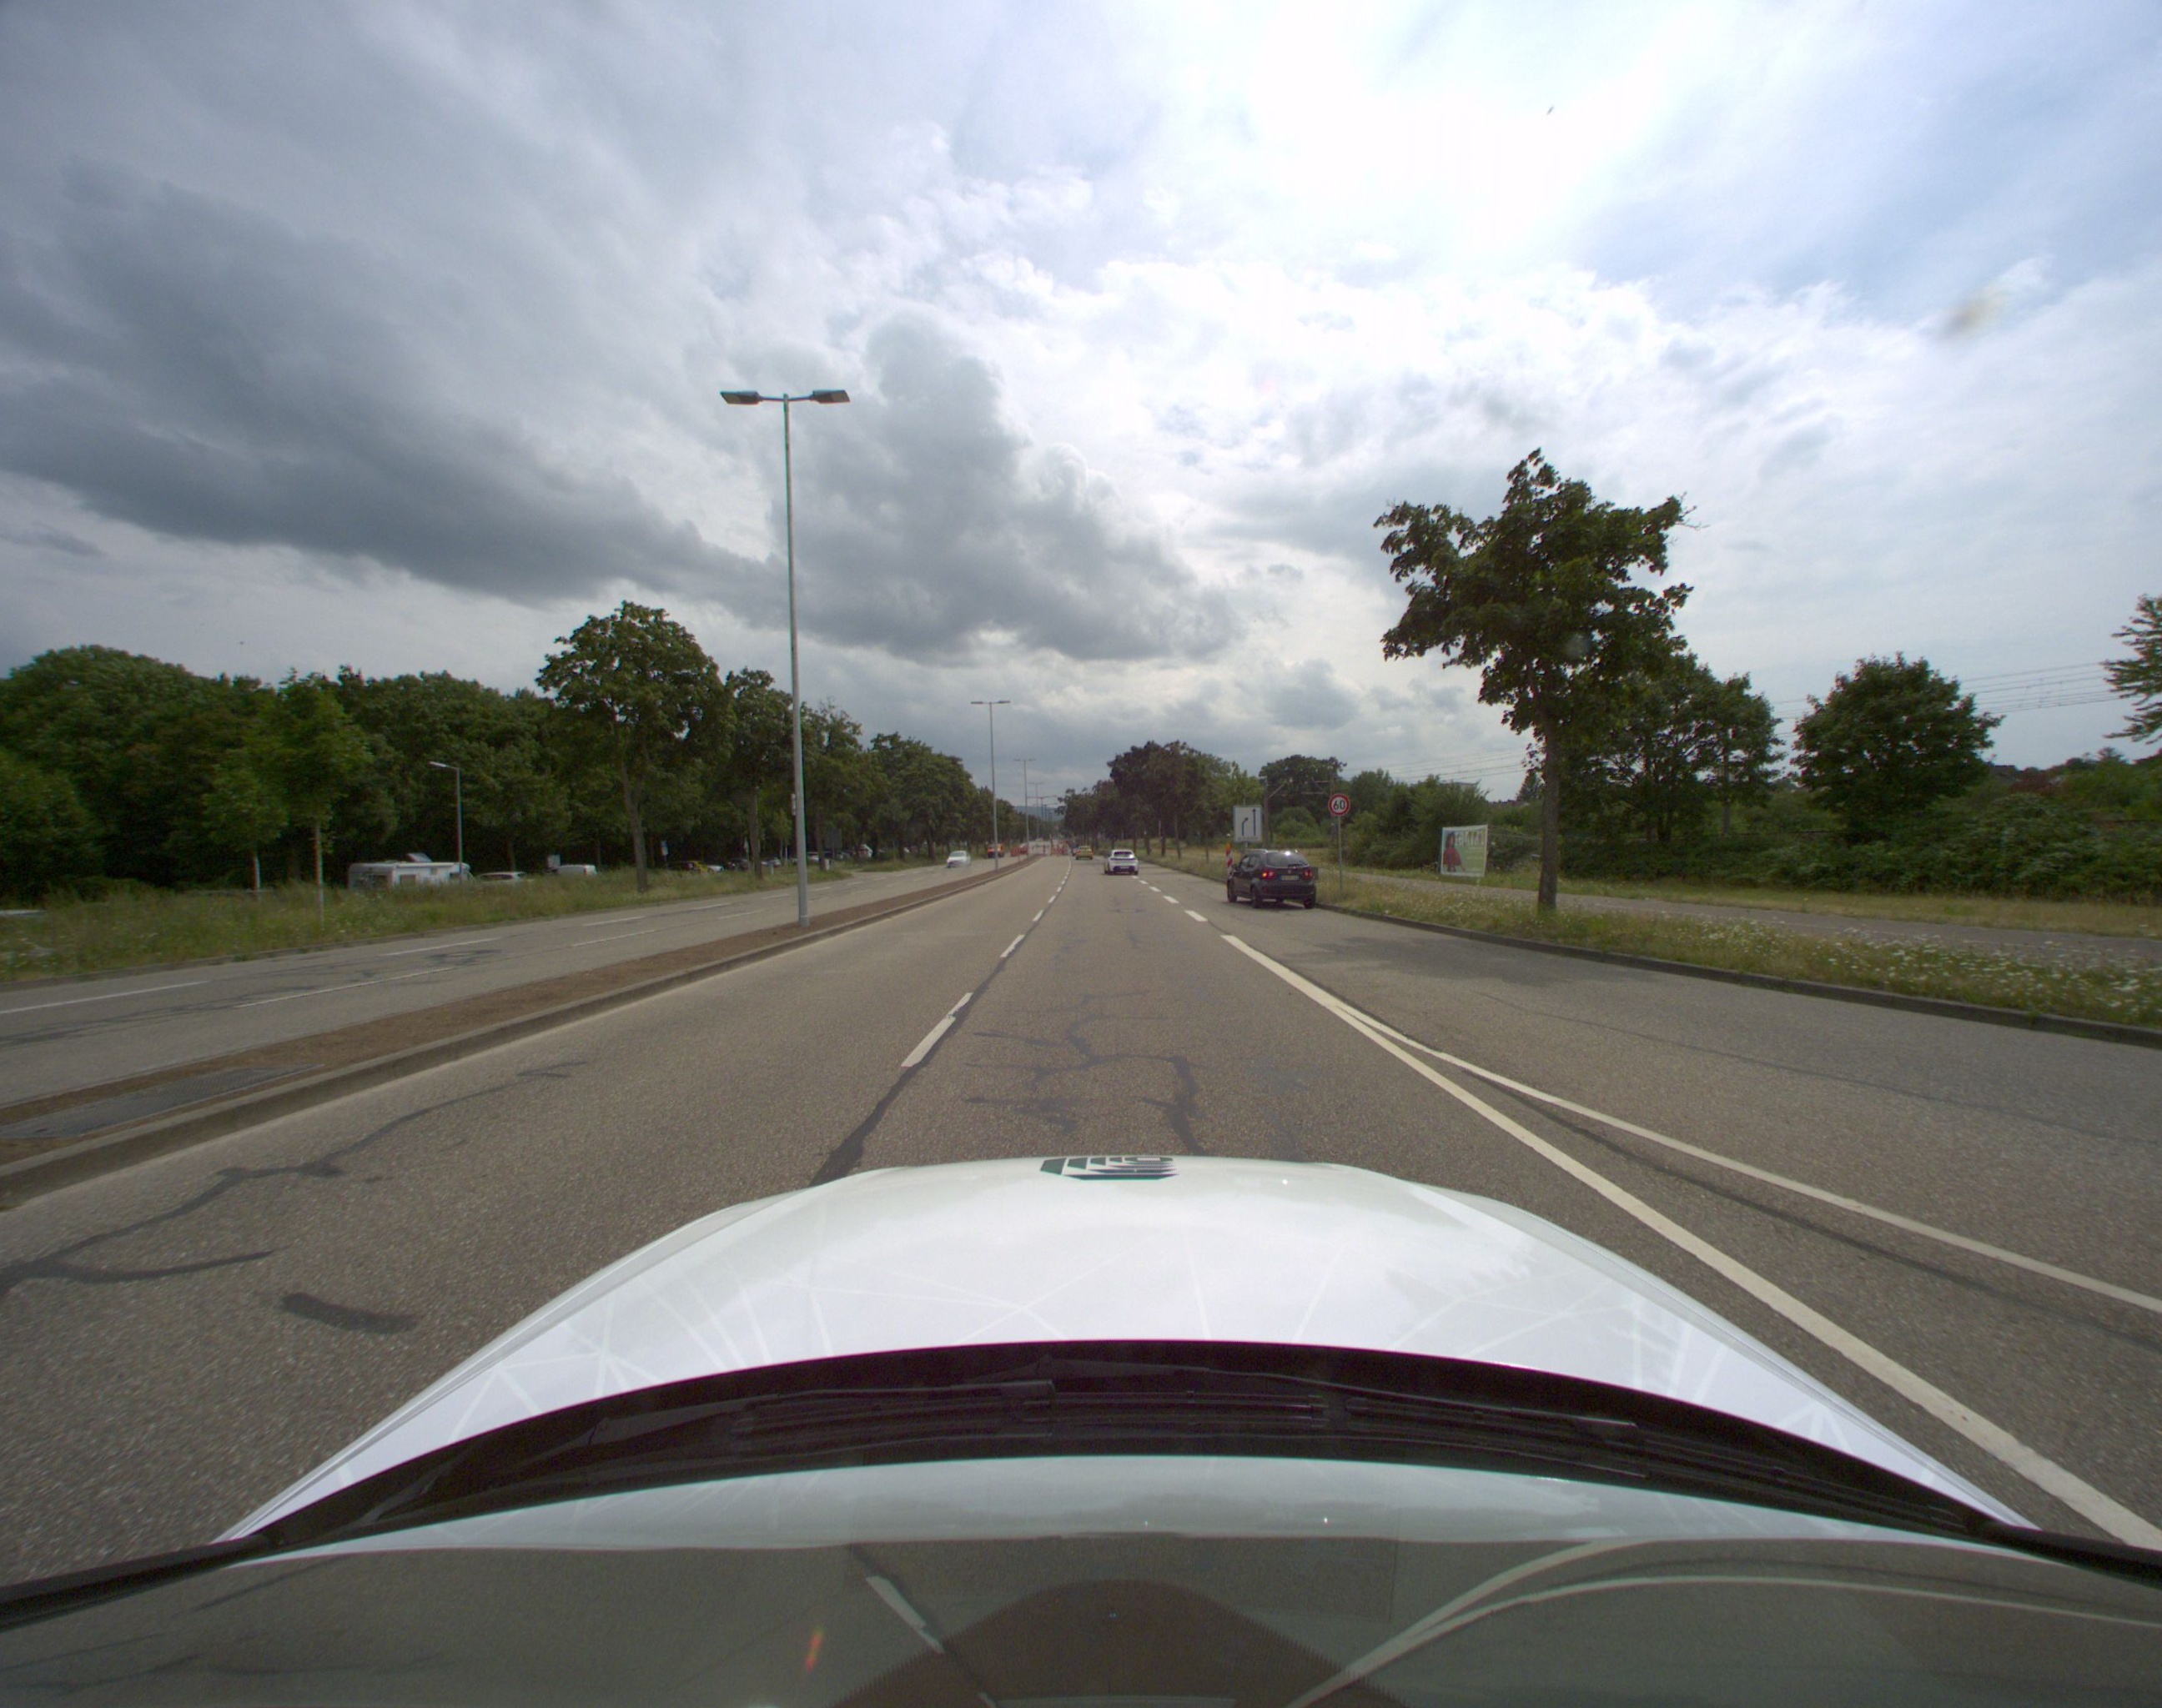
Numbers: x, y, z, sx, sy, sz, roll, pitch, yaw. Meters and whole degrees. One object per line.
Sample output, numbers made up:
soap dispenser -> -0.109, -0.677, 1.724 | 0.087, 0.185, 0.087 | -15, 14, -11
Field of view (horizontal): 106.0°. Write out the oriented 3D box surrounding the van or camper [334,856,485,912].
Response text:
van or camper -> -35.996, 1.525, 44.026 | 2.463, 2.540, 6.721 | -1, 1, 0

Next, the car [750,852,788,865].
car -> -39.284, 0.566, 102.633 | 3.969, 1.410, 2.003 | -1, 1, 4

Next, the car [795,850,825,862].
car -> -39.555, 0.294, 118.848 | 3.636, 1.519, 1.883 | -1, 1, 1

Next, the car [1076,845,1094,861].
car -> 0.439, -0.115, 87.869 | 1.787, 1.561, 4.001 | -1, 1, 1

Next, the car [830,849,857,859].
car -> -38.423, 0.011, 132.037 | 3.718, 1.409, 2.000 | -1, 1, 0

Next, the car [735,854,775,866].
car -> -38.736, 0.697, 96.858 | 3.972, 1.360, 1.668 | -1, 1, 1

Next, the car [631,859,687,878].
car -> -38.185, 1.305, 73.709 | 3.972, 1.448, 2.001 | -1, 1, 1

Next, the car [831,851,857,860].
car -> -39.342, 0.210, 135.216 | 3.759, 1.425, 1.967 | -1, 1, 1

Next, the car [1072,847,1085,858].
car -> -0.343, -0.204, 106.871 | 1.661, 1.269, 4.001 | -1, 2, 1

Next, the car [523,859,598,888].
car -> -36.988, 1.366, 57.899 | 3.975, 1.887, 1.939 | -2, 1, -1

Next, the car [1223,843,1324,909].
car -> 5.343, 0.541, 23.095 | 1.700, 1.668, 3.995 | -1, 1, -4

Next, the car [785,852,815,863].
car -> -39.294, 0.512, 113.906 | 3.636, 1.411, 1.518 | -1, 1, 1

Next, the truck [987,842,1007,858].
truck -> -11.848, -0.561, 114.697 | 2.082, 1.994, 6.039 | -3, 1, 0

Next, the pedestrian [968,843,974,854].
pedestrian -> -18.773, -0.871, 138.937 | 0.693, 1.838, 0.646 | -2, 1, -23

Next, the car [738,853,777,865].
car -> -39.572, 0.618, 99.722 | 3.972, 1.360, 1.823 | -1, 1, 1

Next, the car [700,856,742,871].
car -> -37.901, 1.014, 85.720 | 3.636, 1.411, 1.518 | -1, 1, 1

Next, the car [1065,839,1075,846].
car -> -2.869, -2.921, 213.803 | 2.198, 1.683, 4.002 | -1, 1, 2

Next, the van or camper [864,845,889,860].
van or camper -> -38.017, -0.288, 151.420 | 3.975, 2.756, 1.926 | -2, 1, -1

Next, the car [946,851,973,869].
car -> -11.028, 0.513, 74.193 | 1.711, 1.420, 4.161 | -3, 1, 1

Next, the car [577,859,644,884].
car -> -36.623, 1.347, 63.455 | 3.975, 1.713, 2.046 | -2, 1, -1

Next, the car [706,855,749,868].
car -> -38.871, 0.868, 89.660 | 3.974, 1.259, 1.563 | -2, 1, -1

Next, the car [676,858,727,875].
car -> -37.844, 1.234, 81.264 | 4.166, 1.498, 1.886 | -1, 1, 1

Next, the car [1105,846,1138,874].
car -> 2.320, 0.321, 47.360 | 1.761, 1.464, 4.001 | -1, 1, 1

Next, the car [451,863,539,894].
car -> -36.255, 1.523, 50.452 | 3.975, 1.716, 1.886 | -2, 1, -1

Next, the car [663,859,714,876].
car -> -38.031, 1.288, 78.970 | 3.973, 1.498, 1.786 | -1, 1, 1
